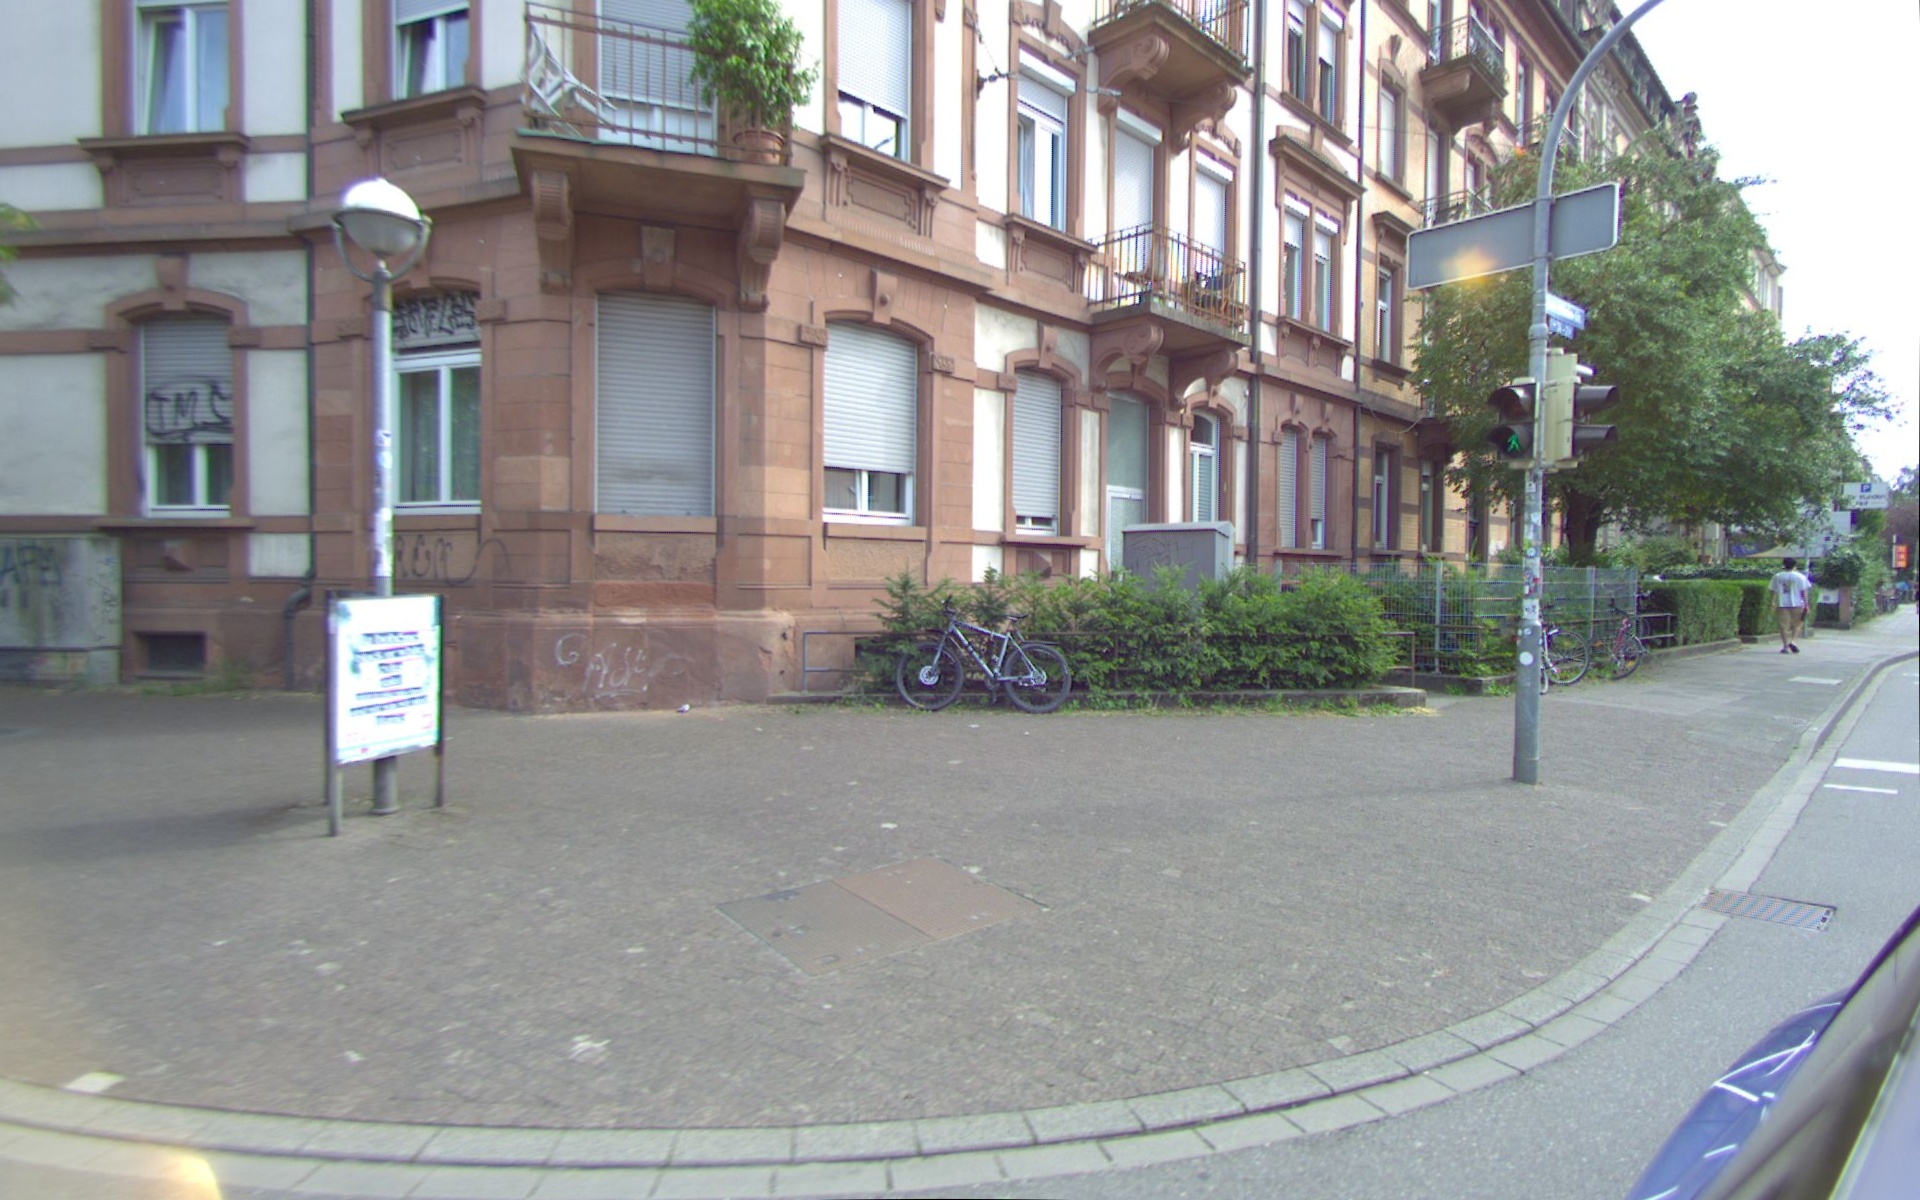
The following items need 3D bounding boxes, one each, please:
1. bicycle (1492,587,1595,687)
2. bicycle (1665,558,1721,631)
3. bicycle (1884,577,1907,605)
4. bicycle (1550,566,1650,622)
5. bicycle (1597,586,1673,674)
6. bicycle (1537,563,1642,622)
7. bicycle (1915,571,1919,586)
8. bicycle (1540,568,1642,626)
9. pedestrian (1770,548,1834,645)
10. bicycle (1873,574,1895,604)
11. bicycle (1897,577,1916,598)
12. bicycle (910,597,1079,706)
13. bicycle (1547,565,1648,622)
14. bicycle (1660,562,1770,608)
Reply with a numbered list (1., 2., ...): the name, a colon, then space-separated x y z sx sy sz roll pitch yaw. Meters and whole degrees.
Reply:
1. bicycle: 7.179 0.415 12.422 1.645 1.120 0.671 -1 3 -45
2. bicycle: 13.519 -0.125 18.662 1.524 1.297 0.517 -1 2 -43
3. bicycle: 40.416 -0.414 43.719 0.579 1.125 1.646 7 6 44
4. bicycle: 12.282 -0.137 19.441 1.546 1.021 0.437 3 3 45
5. bicycle: 9.360 0.382 14.011 1.525 1.101 0.509 -1 6 -45
6. bicycle: 11.373 -0.159 18.310 1.546 1.021 0.437 3 3 45
7. bicycle: 71.058 -1.579 74.784 1.843 1.126 0.629 -1 3 -44
8. bicycle: 11.704 -0.078 18.801 1.546 1.021 0.437 3 3 45
9. pedestrian: 15.956 -0.081 19.179 0.933 1.775 0.732 -1 2 -40
10. bicycle: 36.603 -0.451 40.079 0.579 1.125 1.646 2 3 44
11. bicycle: 48.398 -0.660 51.735 0.579 0.994 1.646 7 6 44
12. bicycle: 0.320 0.472 9.659 1.518 0.981 0.511 0 2 -12
13. bicycle: 12.009 -0.139 19.099 1.546 1.021 0.437 3 3 45
14. bicycle: 23.363 -0.487 31.365 2.624 1.328 0.758 3 3 44
